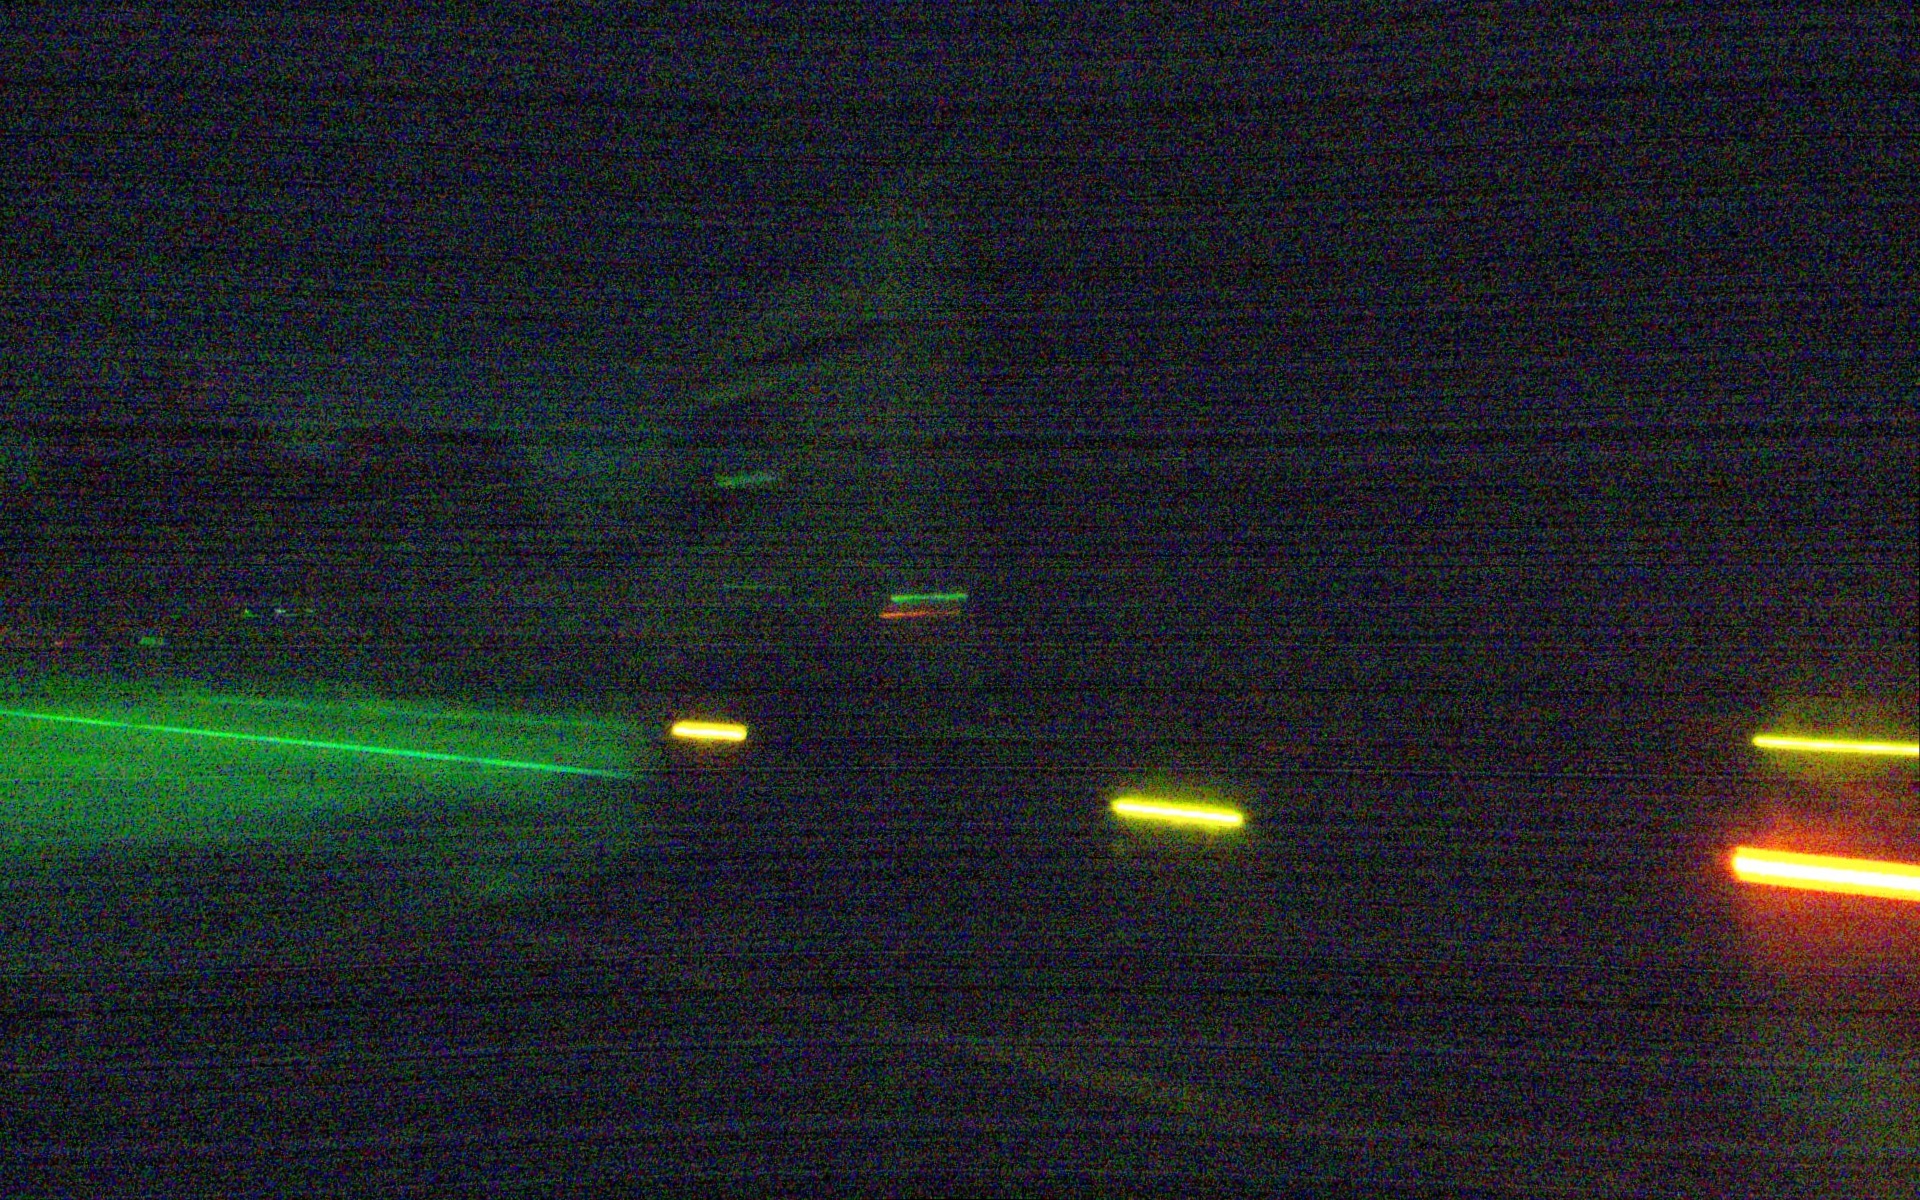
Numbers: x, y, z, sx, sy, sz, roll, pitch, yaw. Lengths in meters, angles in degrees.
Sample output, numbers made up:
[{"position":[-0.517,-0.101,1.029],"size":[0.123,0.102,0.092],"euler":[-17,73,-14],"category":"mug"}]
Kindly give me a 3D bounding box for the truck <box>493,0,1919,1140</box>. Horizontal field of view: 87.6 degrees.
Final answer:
[{"position":[0.966,-0.501,5.620],"size":[7.401,4.131,2.856],"euler":[0,1,32],"category":"truck"}]

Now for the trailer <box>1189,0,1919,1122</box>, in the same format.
[{"position":[7.160,-0.602,1.725],"size":[13.015,4.122,2.848],"euler":[0,1,32],"category":"trailer"}]
